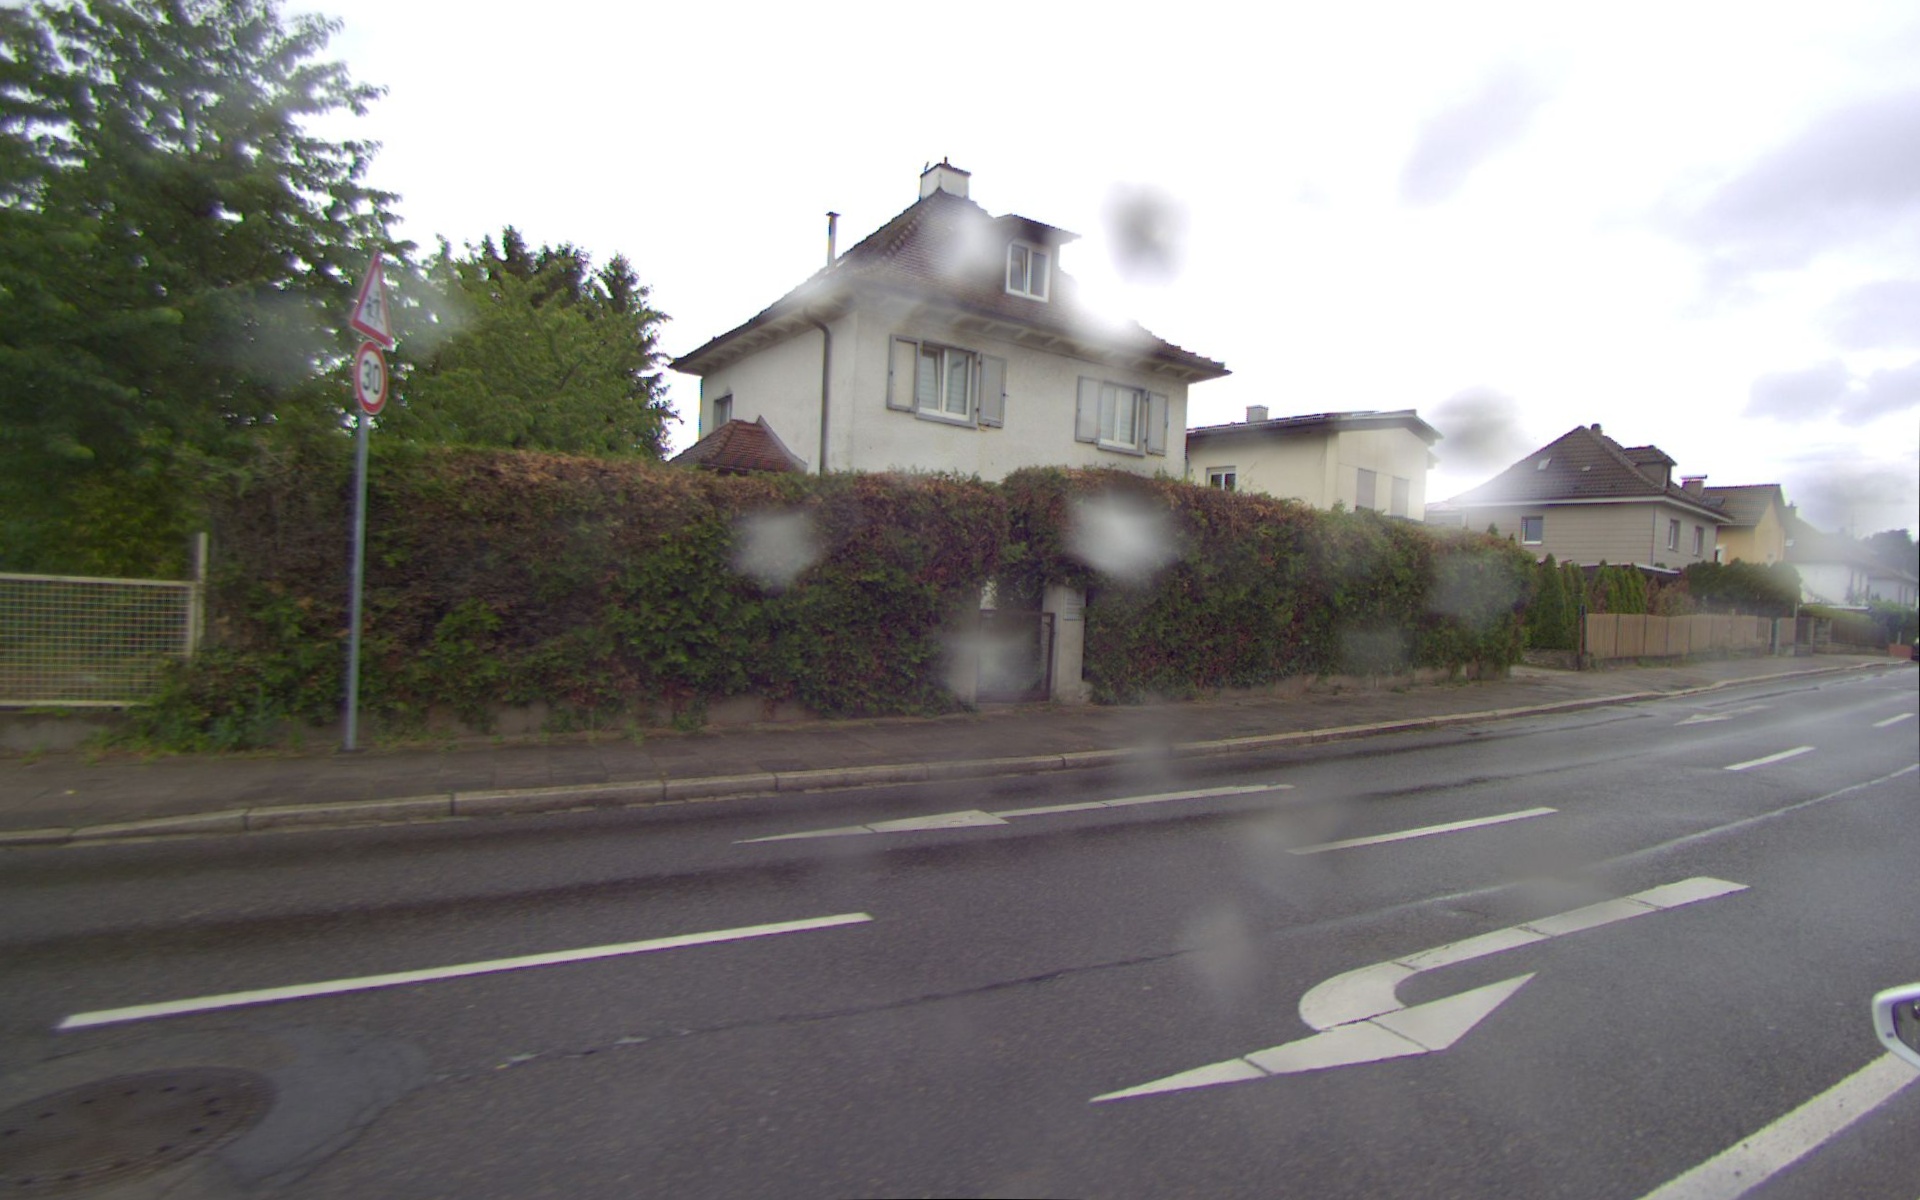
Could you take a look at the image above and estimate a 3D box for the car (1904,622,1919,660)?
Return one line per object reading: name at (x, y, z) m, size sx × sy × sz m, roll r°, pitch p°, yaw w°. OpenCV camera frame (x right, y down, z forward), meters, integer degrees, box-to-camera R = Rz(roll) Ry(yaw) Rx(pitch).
car at (39.624, 1.756, 40.481) m, size 4.096 × 1.458 × 1.736 m, roll 4°, pitch 0°, yaw -39°
